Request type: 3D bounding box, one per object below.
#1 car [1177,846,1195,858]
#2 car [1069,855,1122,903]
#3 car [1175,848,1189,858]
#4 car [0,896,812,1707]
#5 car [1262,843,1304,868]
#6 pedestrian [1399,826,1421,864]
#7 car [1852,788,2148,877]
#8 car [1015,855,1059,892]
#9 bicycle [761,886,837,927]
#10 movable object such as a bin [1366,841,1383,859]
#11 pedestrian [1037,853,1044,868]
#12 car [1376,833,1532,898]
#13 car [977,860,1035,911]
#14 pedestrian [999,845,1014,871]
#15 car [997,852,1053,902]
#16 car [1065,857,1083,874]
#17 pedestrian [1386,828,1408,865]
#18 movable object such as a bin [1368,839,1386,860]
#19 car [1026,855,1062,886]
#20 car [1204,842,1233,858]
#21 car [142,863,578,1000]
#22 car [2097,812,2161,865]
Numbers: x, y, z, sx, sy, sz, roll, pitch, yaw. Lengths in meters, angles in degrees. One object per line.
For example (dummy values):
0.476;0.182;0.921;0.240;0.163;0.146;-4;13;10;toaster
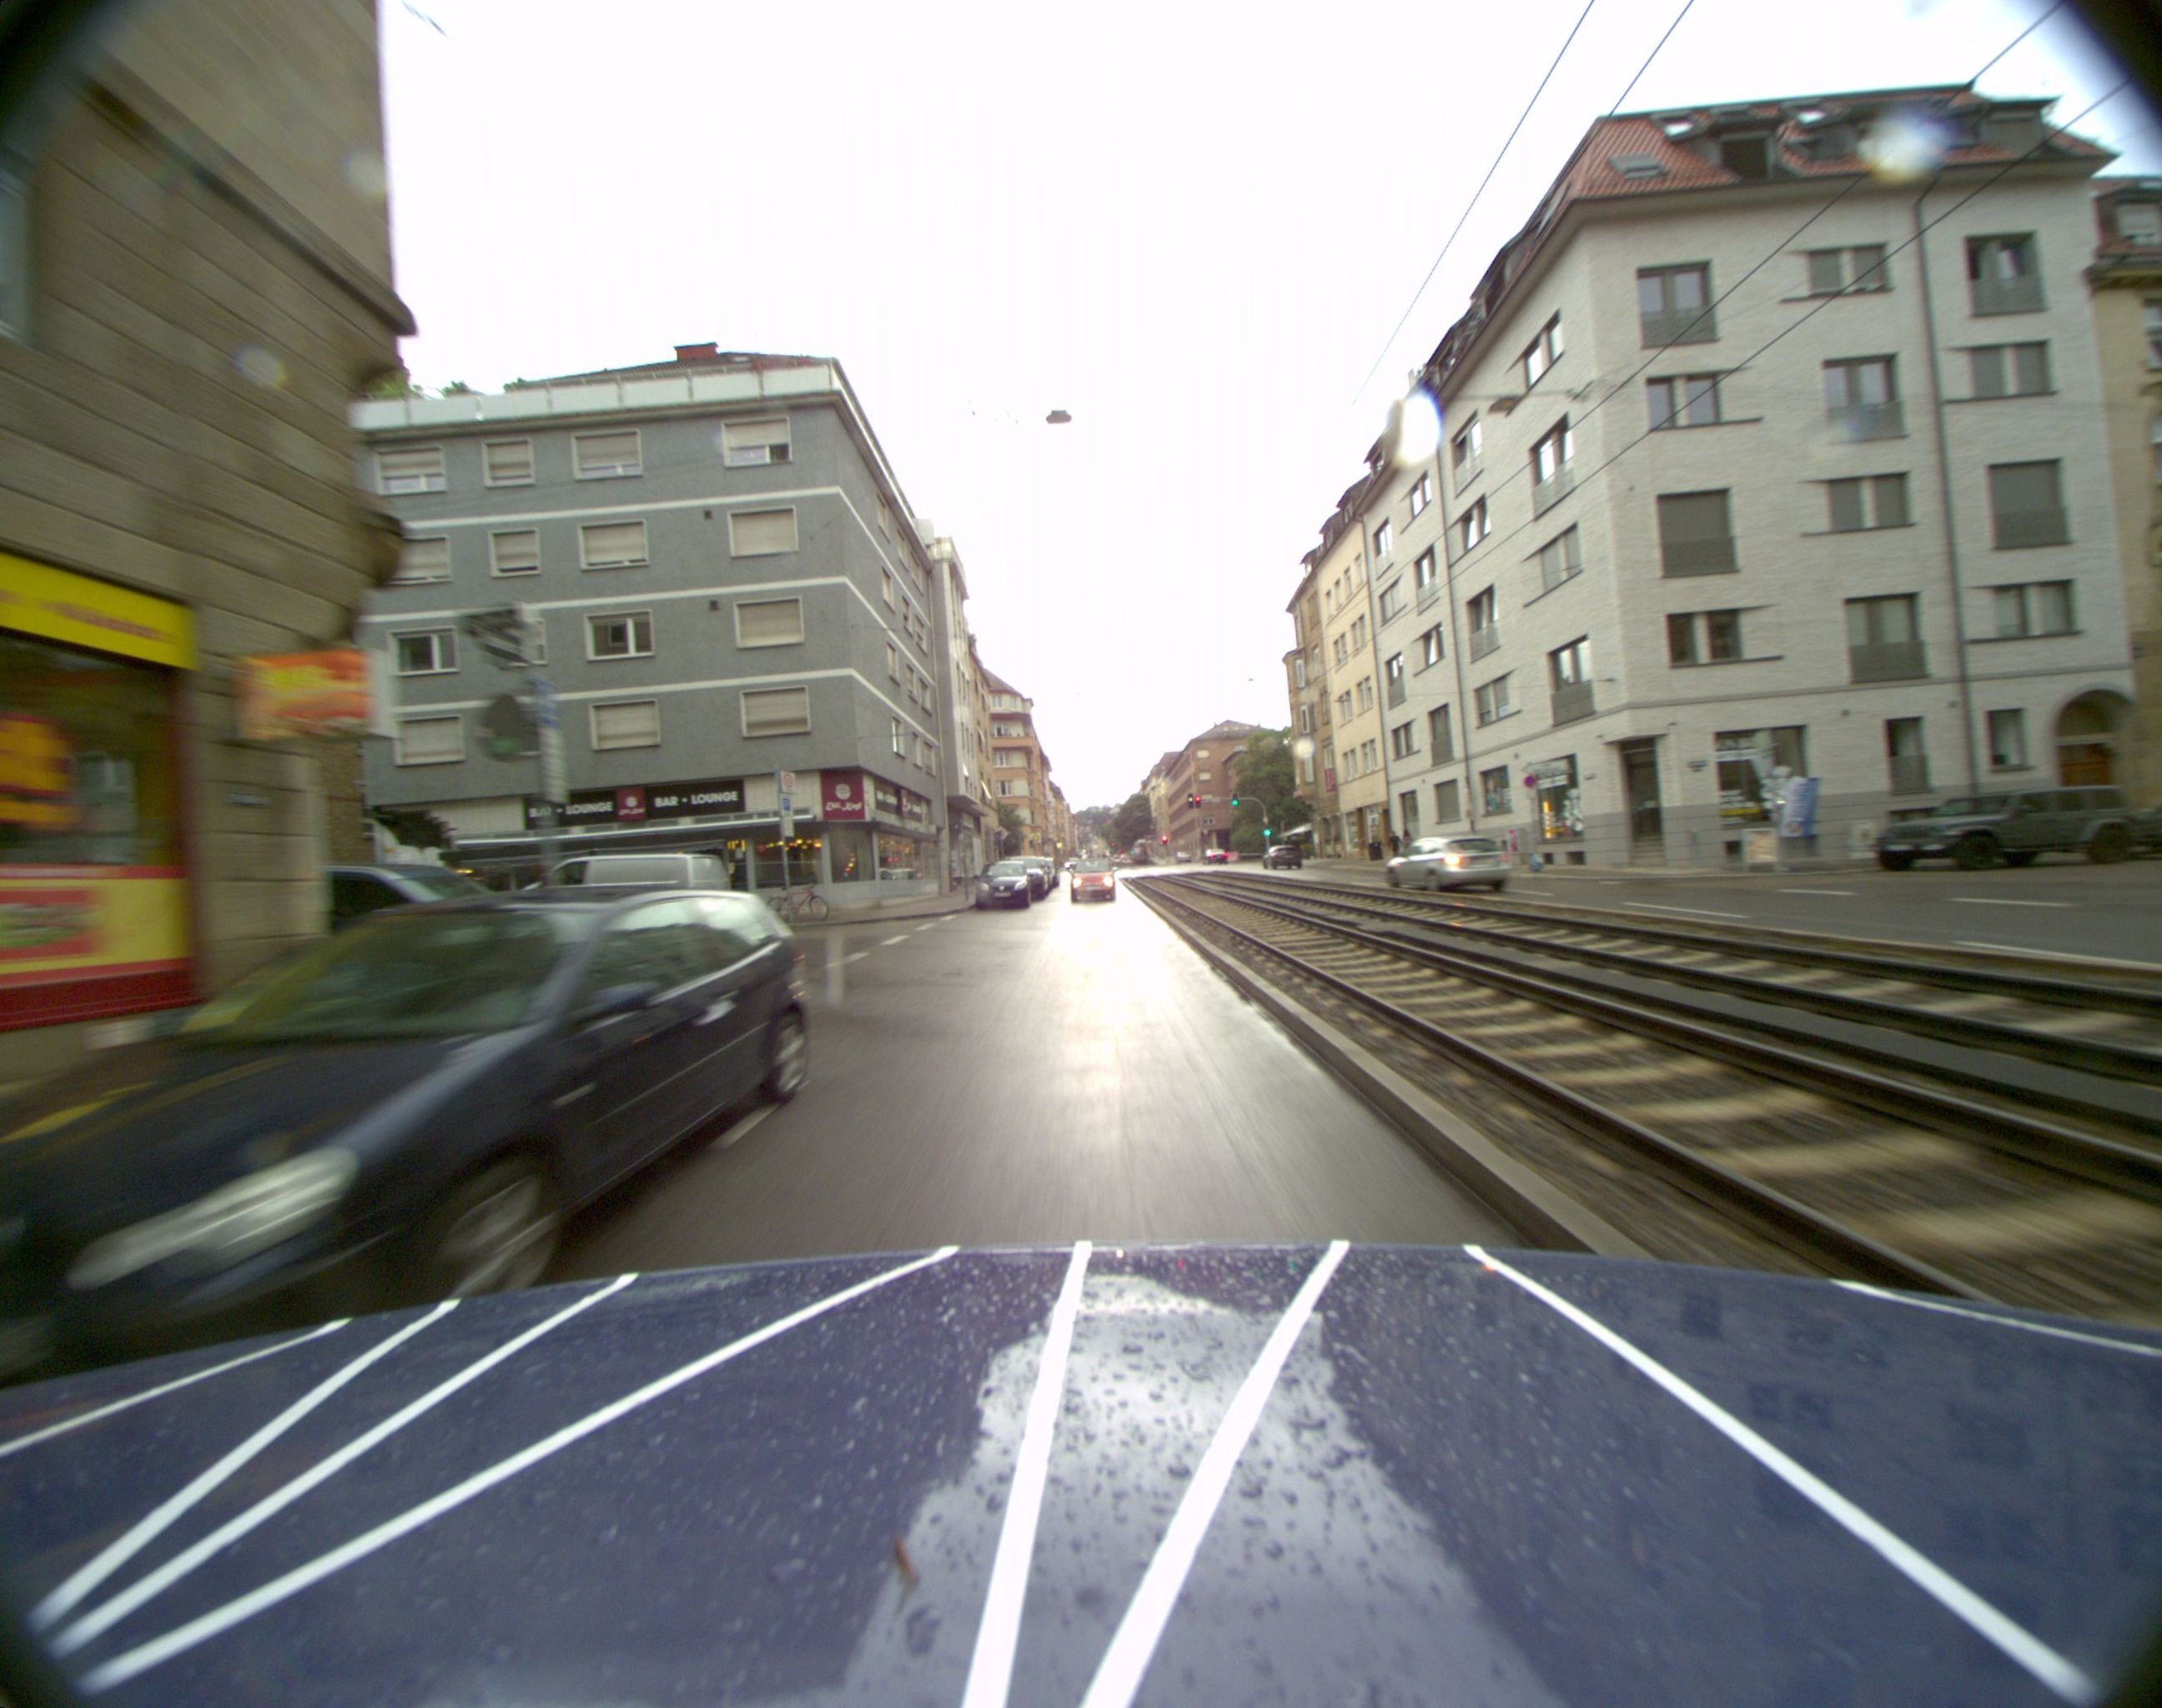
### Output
13.756;-0.262;99.761;1.717;1.452;4.643;-3;0;2;car
0.517;0.836;27.426;1.683;1.531;4.018;-3;0;1;car
14.979;-0.167;112.811;1.631;1.442;3.388;-3;0;1;car
-2.763;1.033;3.345;1.675;1.435;3.790;-2;0;2;car
12.517;0.076;47.254;1.708;1.379;3.781;-3;0;3;car
15.738;-0.426;36.356;0.603;1.708;0.658;-6;0;4;pedestrian
21.814;-0.488;18.180;4.704;1.718;2.034;-3;0;-2;car
-2.069;0.880;36.758;1.822;1.645;4.250;-2;0;1;car
-7.512;1.398;20.264;1.753;0.967;0.533;-4;1;2;bicycle
16.566;-0.215;42.963;0.631;0.922;0.563;-8;0;1;movable object such as a bin
-4.358;0.677;81.865;0.579;1.563;0.438;-3;1;0;pedestrian
9.703;0.272;20.198;1.986;1.448;4.294;-3;0;0;car
-2.421;0.991;25.352;1.696;1.474;3.928;-2;0;-3;car
-5.127;0.275;52.367;0.852;1.807;0.847;-2;1;1;pedestrian
-2.153;0.855;30.347;1.797;1.750;4.566;-3;0;0;car
-0.880;1.422;98.172;2.135;2.002;4.328;-3;0;1;car
15.131;-0.341;36.423;0.603;1.708;0.746;-6;0;4;pedestrian
16.477;-0.254;42.328;0.631;1.074;0.563;-8;0;1;movable object such as a bin
-2.011;0.865;42.506;1.715;1.604;4.519;-2;0;1;car
13.145;-0.365;72.993;2.093;1.449;4.860;-2;0;3;car
-10.865;1.104;11.747;4.790;1.851;2.000;-1;0;0;car
26.788;-0.419;17.980;3.522;1.217;1.431;-2;0;1;car
